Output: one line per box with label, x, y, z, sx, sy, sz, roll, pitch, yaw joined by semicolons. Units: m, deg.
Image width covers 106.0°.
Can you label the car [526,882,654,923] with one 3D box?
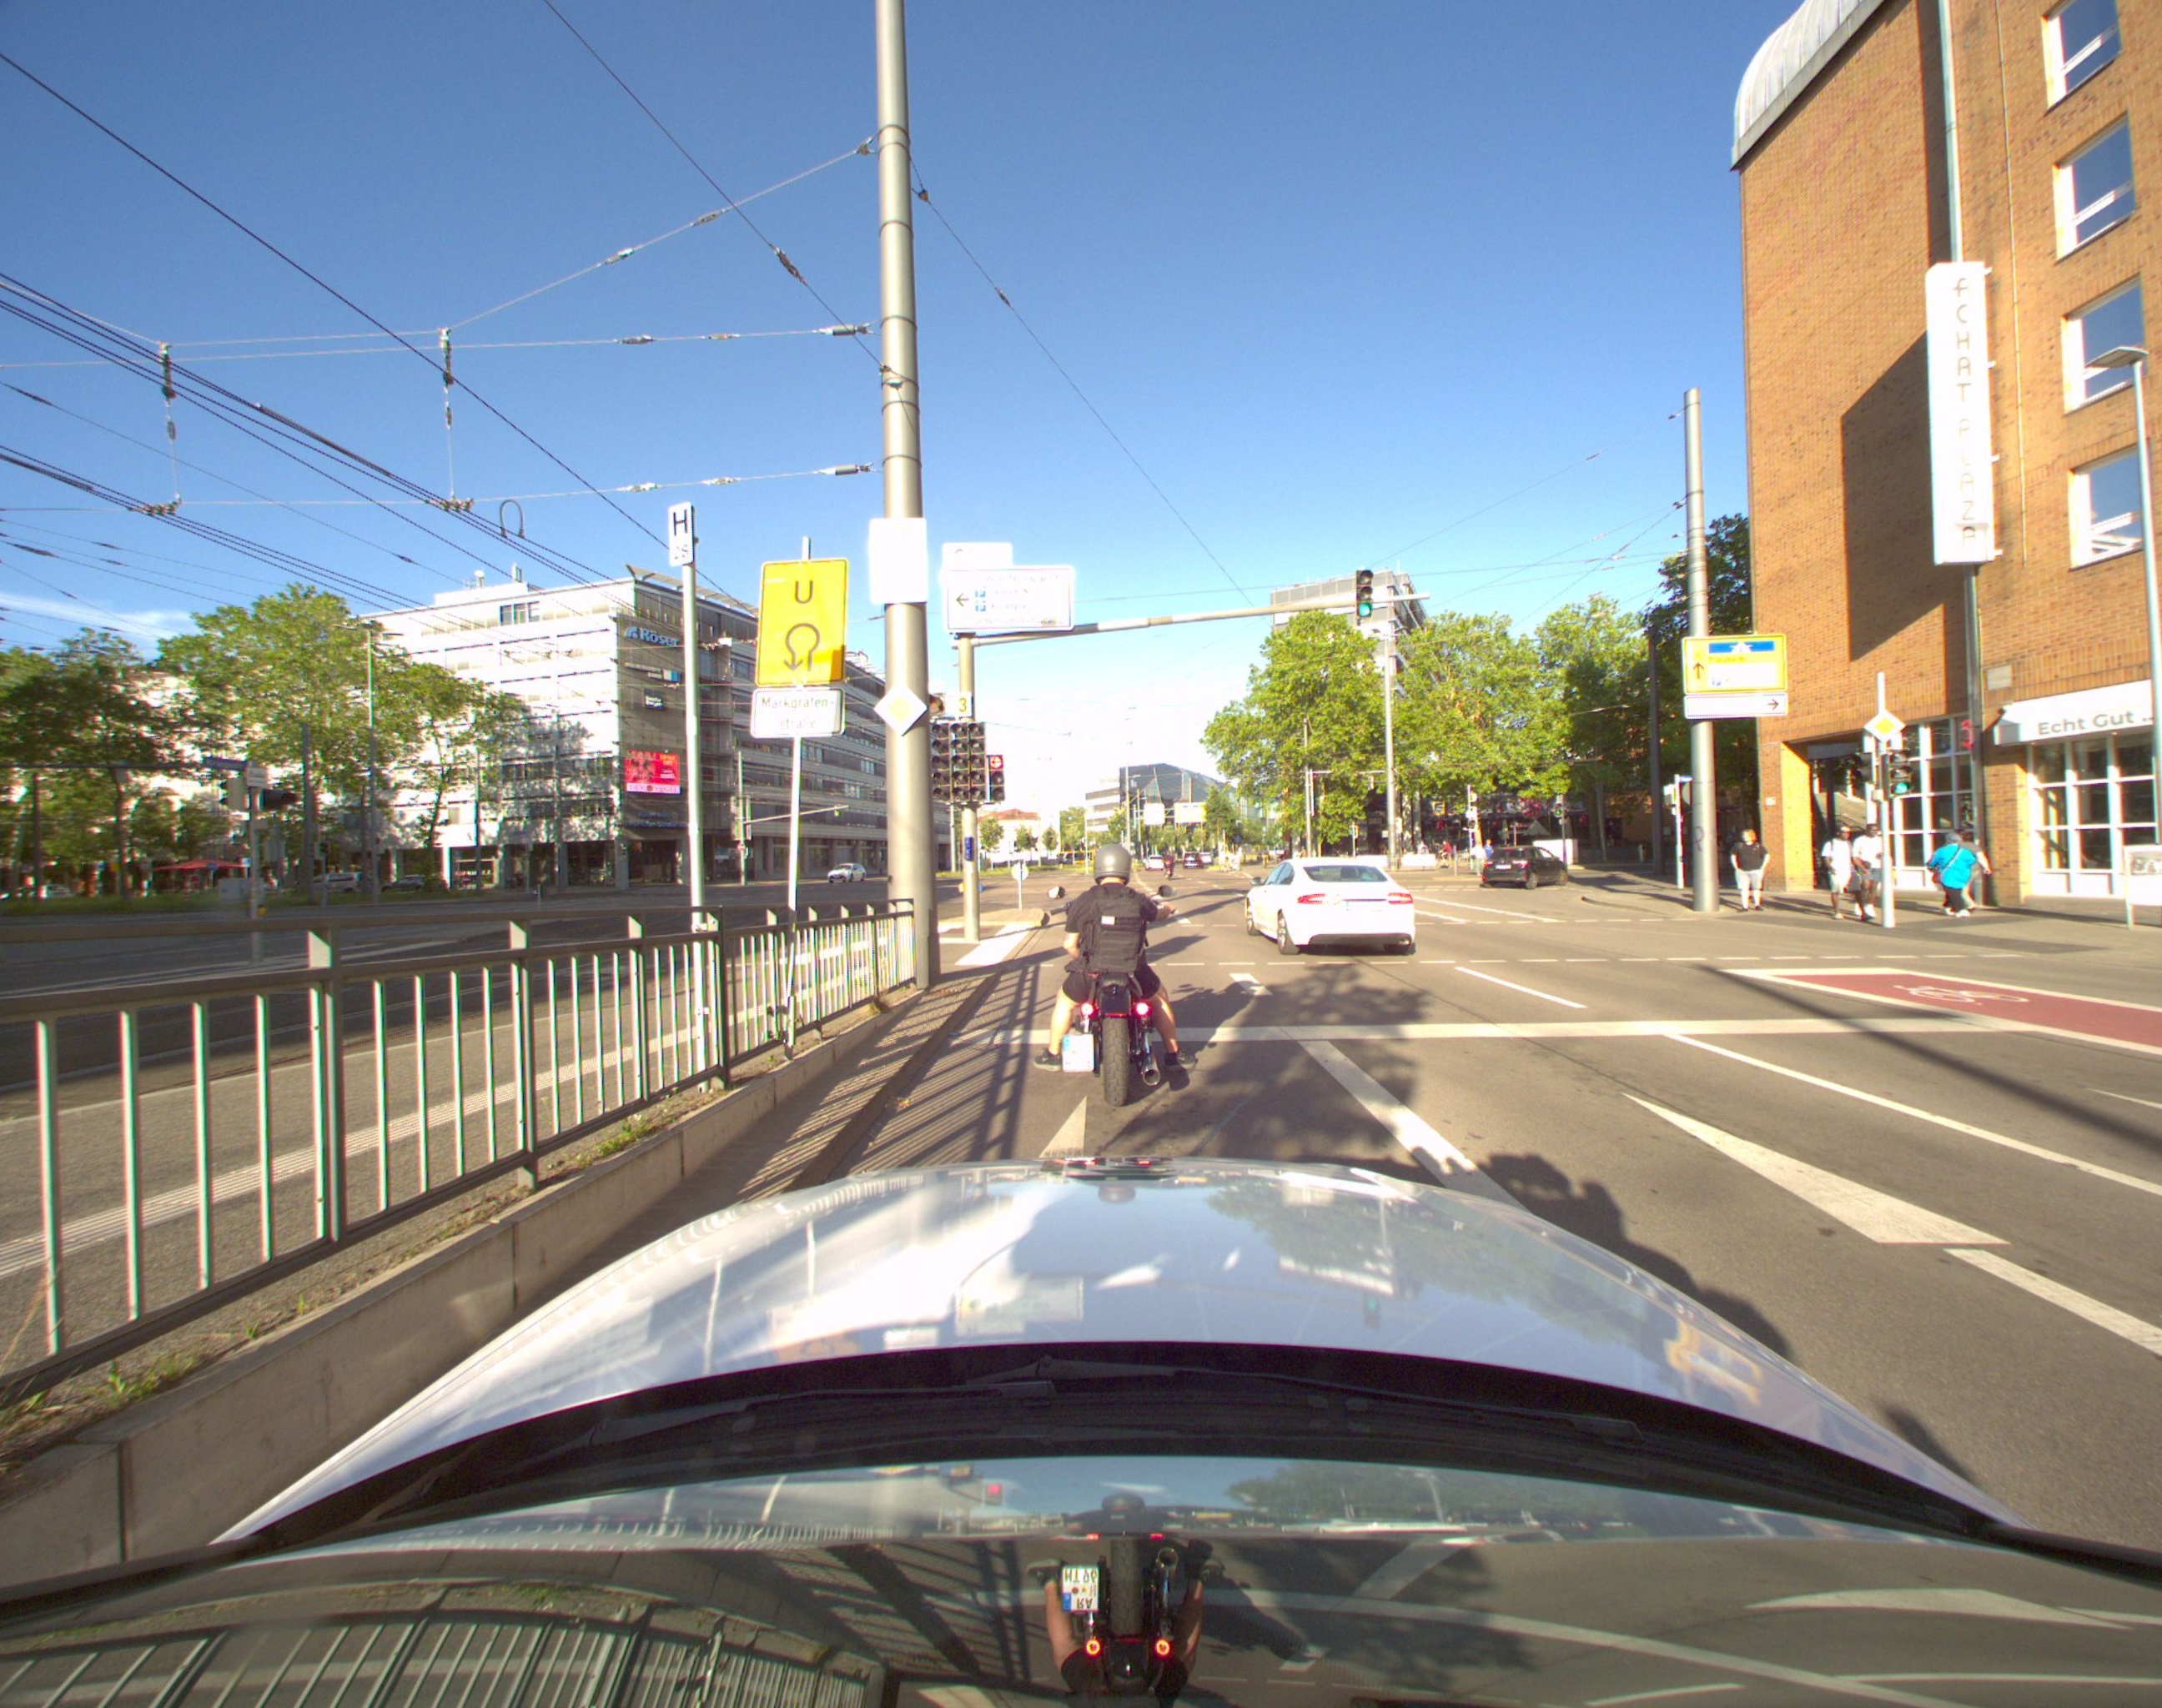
car;-13.851;1.356;23.120;2.884;1.063;1.235;0;-1;-19

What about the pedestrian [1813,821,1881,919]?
pedestrian;14.378;0.291;15.300;0.587;1.780;0.685;-5;0;18

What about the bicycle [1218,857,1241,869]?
bicycle;12.178;0.755;66.935;1.823;0.925;0.357;0;-1;-7

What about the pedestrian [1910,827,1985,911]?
pedestrian;15.780;0.270;14.847;0.590;1.452;0.601;-4;-1;2

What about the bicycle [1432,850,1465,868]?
bicycle;25.329;0.349;56.129;2.034;1.214;0.421;0;-1;2

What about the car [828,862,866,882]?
car;-18.370;1.412;64.107;1.821;1.430;4.526;-2;0;-2

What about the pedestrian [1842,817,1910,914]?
pedestrian;15.113;0.216;15.503;0.588;1.780;0.684;-3;-1;13

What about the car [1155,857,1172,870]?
car;10.847;1.260;107.057;1.791;1.678;4.054;0;-1;12

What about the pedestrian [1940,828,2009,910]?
pedestrian;16.465;0.274;15.012;0.590;1.476;0.552;-2;-1;2

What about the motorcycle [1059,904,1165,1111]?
motorcycle;0.213;0.945;5.767;0.598;1.036;2.235;0;0;2

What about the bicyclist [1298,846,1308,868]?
bicyclist;17.708;0.245;64.915;0.682;1.673;0.544;-2;-2;21

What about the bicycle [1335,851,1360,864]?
bicycle;21.364;0.286;65.372;1.874;1.046;0.360;0;-1;1

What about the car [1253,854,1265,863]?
car;34.477;0.860;157.420;1.789;1.678;4.059;0;-1;18

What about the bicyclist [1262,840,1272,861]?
bicyclist;15.720;-0.280;68.945;0.693;1.808;0.730;0;-1;6

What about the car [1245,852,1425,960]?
car;3.886;0.704;13.262;1.795;1.430;4.458;-2;0;4

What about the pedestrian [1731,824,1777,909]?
pedestrian;14.568;0.271;17.631;0.727;1.792;0.515;-1;-1;42

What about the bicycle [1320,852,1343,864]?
bicycle;21.592;0.357;70.293;1.874;1.046;0.360;0;0;1

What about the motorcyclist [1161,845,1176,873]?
motorcyclist;4.984;0.298;46.484;0.793;1.580;0.529;0;-1;1

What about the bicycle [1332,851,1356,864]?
bicycle;21.351;0.308;66.155;1.874;1.046;0.360;0;-1;1

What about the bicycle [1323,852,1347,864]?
bicycle;21.564;0.352;69.142;1.874;1.046;0.360;0;0;1

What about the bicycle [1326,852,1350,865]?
bicycle;21.506;0.358;68.157;1.874;1.046;0.360;0;-1;1

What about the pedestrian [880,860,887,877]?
pedestrian;-23.744;1.714;97.986;0.628;2.014;0.754;0;-1;2

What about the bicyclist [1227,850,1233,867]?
bicyclist;12.261;0.394;66.954;0.380;1.373;0.344;0;-1;-7

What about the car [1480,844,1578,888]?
car;16.203;0.392;29.396;4.061;1.450;1.717;-1;0;-40

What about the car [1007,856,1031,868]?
car;-7.974;0.992;105.313;1.736;1.524;4.016;-1;-1;16

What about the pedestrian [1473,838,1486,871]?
pedestrian;19.215;0.030;39.282;0.561;1.533;0.706;-1;-1;25

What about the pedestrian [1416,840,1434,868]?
pedestrian;21.262;0.010;50.330;0.829;1.704;0.760;0;-1;2

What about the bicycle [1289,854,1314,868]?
bicycle;17.572;0.565;64.966;1.854;1.044;0.540;-1;-1;20

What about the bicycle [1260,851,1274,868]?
bicycle;15.711;0.459;68.844;0.722;1.367;2.922;0;-1;6

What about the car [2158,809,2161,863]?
car;41.050;-0.663;28.132;1.820;2.009;4.417;0;0;-45

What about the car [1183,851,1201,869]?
car;11.322;0.617;83.401;1.723;1.732;4.620;0;0;6

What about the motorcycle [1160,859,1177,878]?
motorcycle;4.993;0.837;46.652;0.801;1.050;2.376;0;-1;2

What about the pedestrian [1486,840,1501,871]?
pedestrian;19.865;0.062;39.250;0.561;1.479;0.706;-1;-1;22

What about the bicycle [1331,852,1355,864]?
bicycle;21.554;0.330;66.967;1.874;1.046;0.360;0;-1;1

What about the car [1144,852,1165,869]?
car;6.917;0.622;76.566;1.725;1.457;4.419;0;-1;2

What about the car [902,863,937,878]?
car;-16.250;1.661;82.153;1.812;1.430;4.256;-1;-1;13

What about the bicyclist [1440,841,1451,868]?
bicyclist;25.131;0.042;56.145;0.582;1.837;0.403;0;-1;1

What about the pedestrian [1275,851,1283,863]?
pedestrian;21.982;0.283;90.367;0.814;1.314;0.640;-1;-1;11

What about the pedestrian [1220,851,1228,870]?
pedestrian;12.045;0.538;68.496;0.587;1.557;0.488;0;-1;-6

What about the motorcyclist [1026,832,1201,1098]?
motorcyclist;0.212;0.677;5.405;1.027;1.593;0.874;-2;0;1

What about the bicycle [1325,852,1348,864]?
bicycle;21.549;0.352;68.642;1.874;1.046;0.360;0;0;1
